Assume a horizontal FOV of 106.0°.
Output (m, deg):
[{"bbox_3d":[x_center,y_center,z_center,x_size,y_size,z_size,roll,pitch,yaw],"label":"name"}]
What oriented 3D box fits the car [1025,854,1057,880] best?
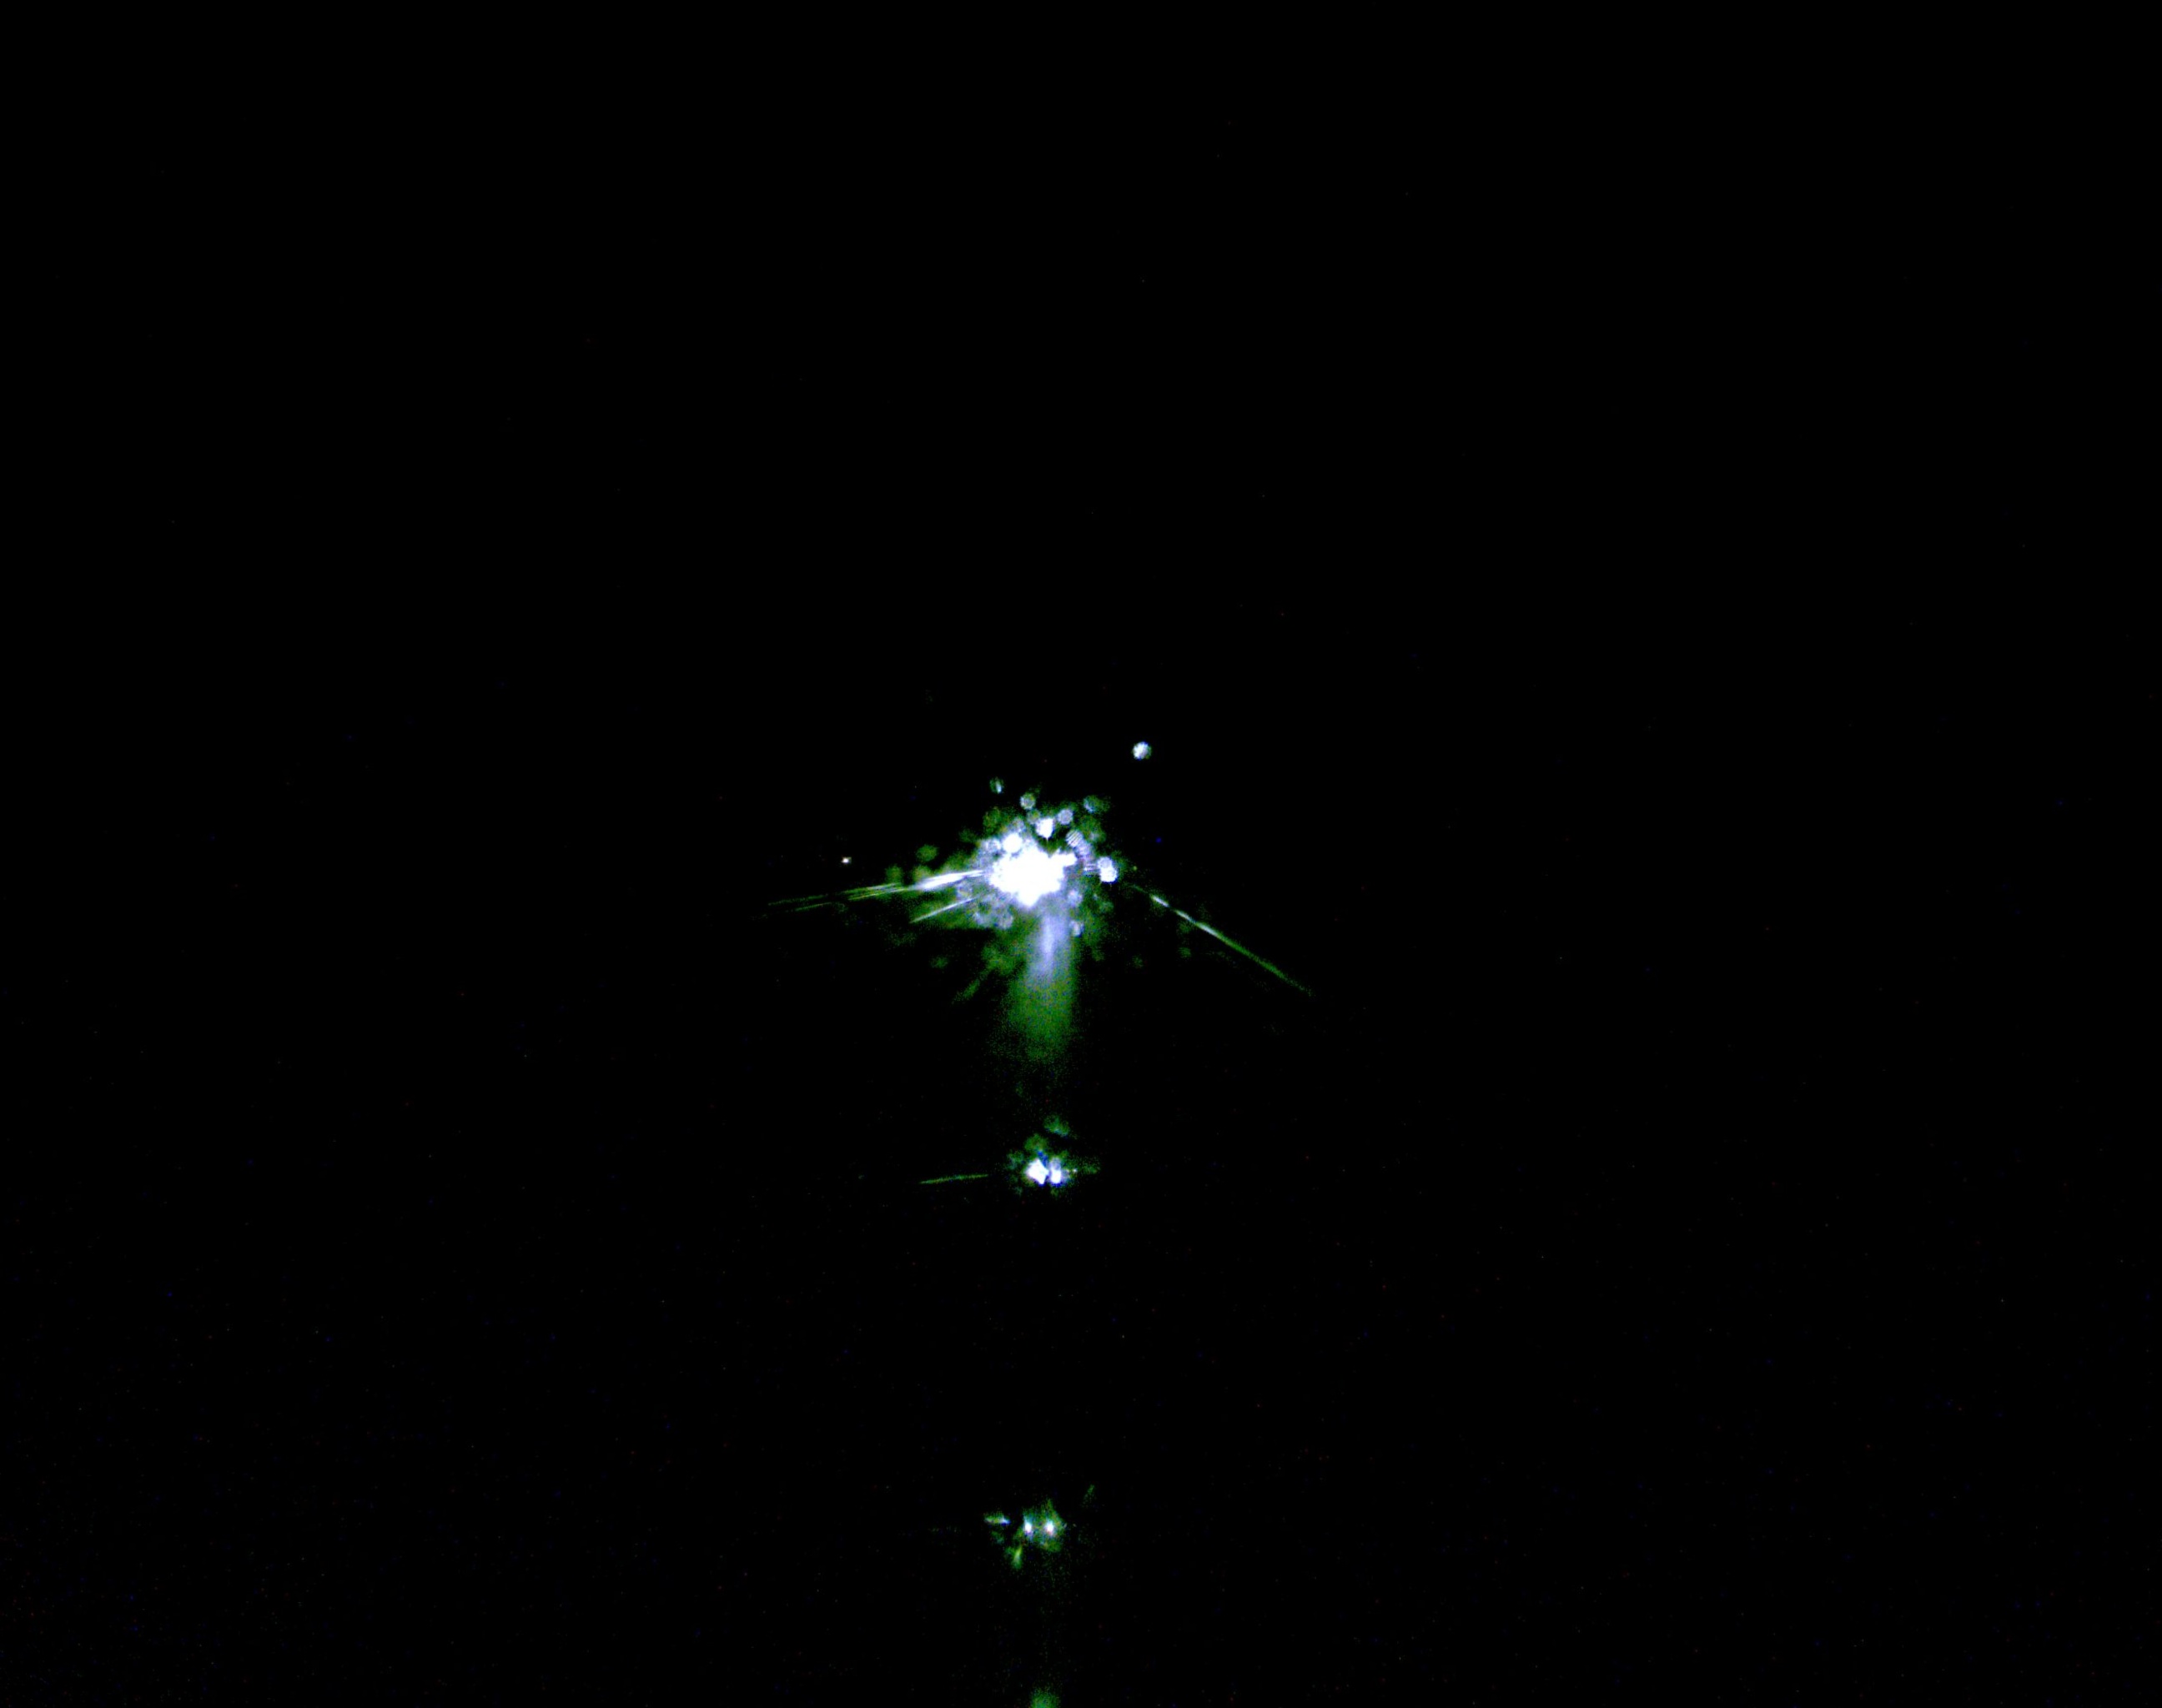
[{"bbox_3d":[-2.474,0.816,51.051,1.823,1.568,3.780,0,0,0],"label":"car"}]
